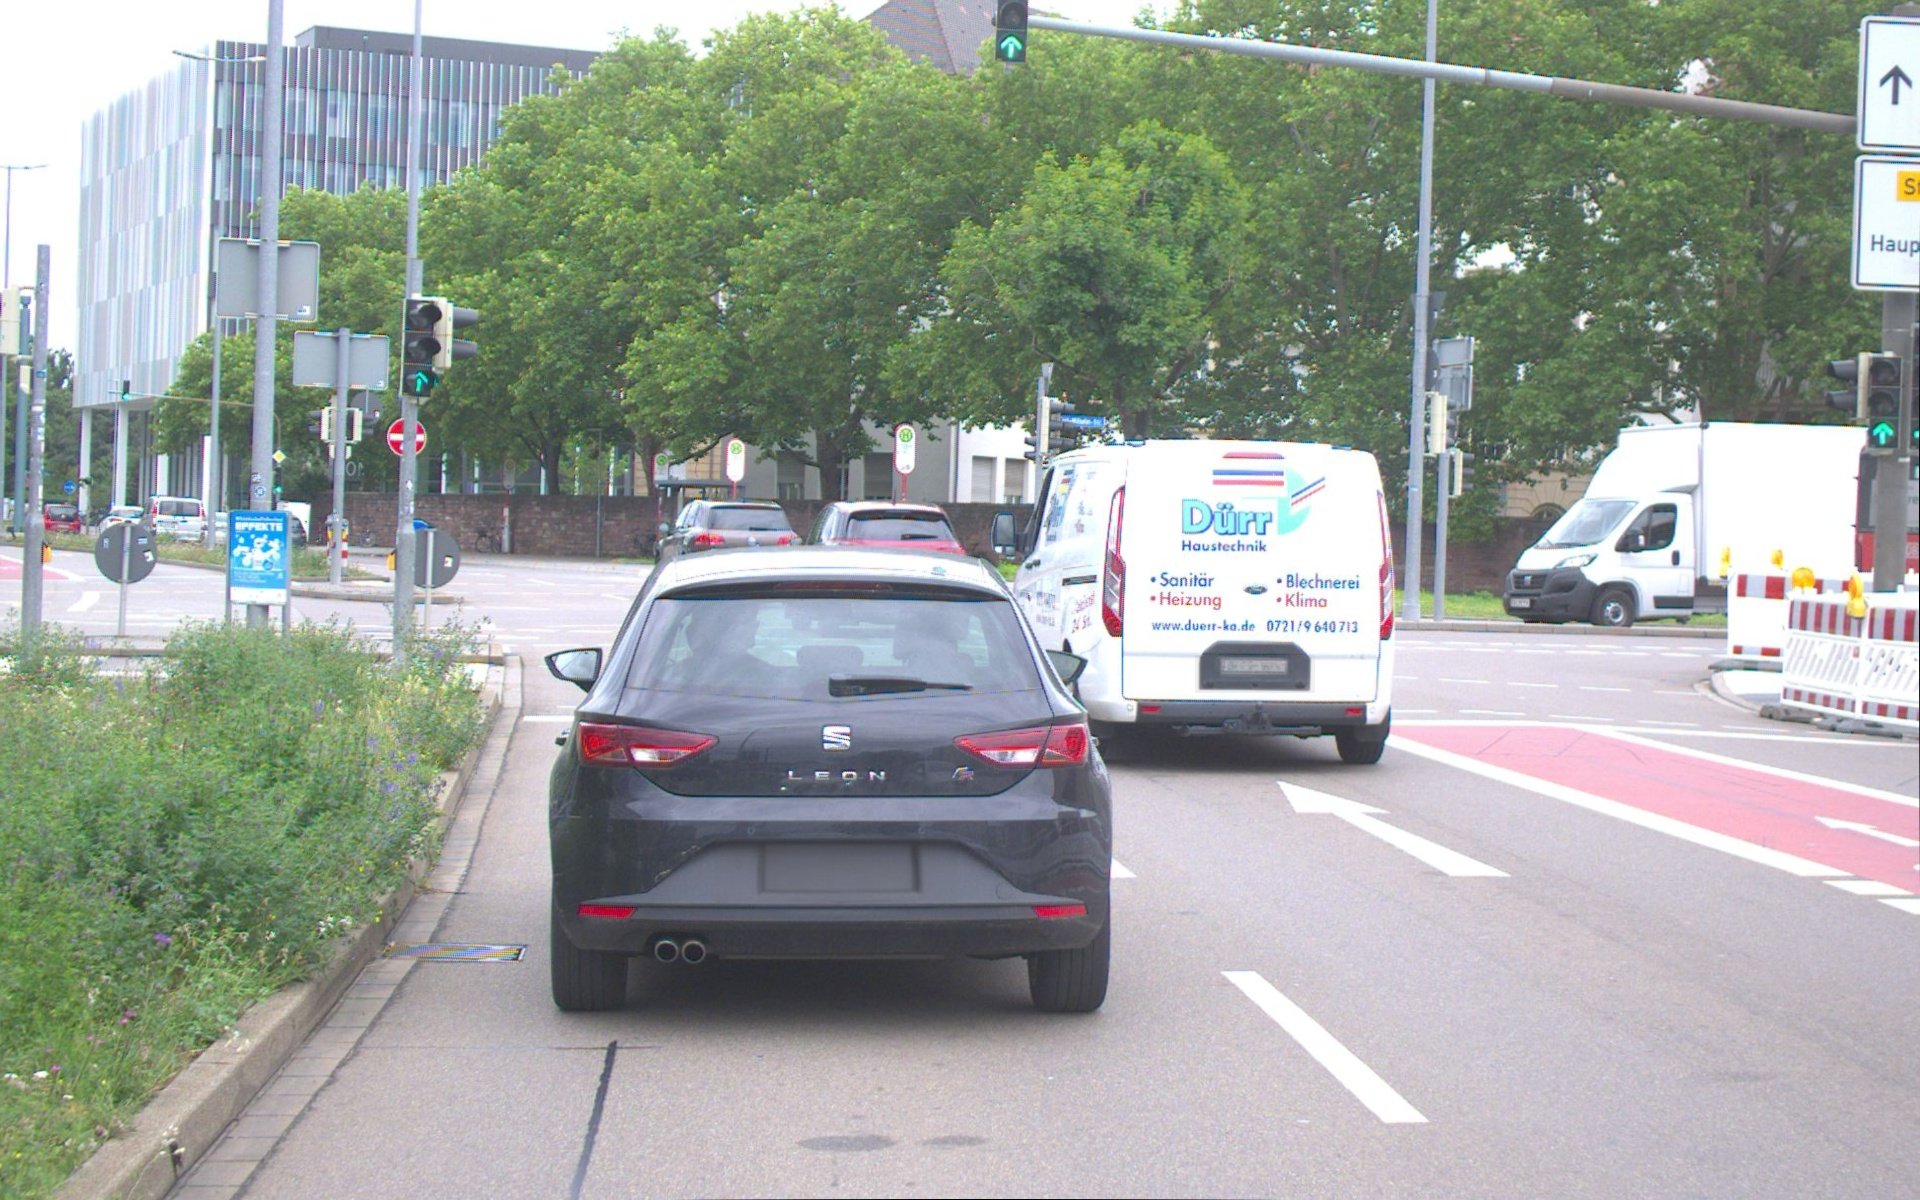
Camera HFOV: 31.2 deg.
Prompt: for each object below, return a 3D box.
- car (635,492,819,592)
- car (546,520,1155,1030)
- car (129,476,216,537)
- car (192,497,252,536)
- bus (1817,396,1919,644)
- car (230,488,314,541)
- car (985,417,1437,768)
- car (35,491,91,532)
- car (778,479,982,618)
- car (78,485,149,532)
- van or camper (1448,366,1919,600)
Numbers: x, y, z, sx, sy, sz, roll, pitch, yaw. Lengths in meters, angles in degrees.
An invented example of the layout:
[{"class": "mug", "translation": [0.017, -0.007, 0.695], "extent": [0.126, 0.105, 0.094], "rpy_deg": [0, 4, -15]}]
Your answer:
[{"class": "car", "translation": [-3.939, -0.993, 57.464], "extent": [1.993, 1.560, 4.206], "rpy_deg": [1, 2, -20]}, {"class": "car", "translation": [-0.490, 0.476, 11.906], "extent": [1.745, 1.459, 4.001], "rpy_deg": [0, 1, -5]}, {"class": "car", "translation": [-26.935, -3.216, 117.540], "extent": [1.993, 2.007, 4.001], "rpy_deg": [1, 1, -26]}, {"class": "car", "translation": [-27.303, -3.085, 127.092], "extent": [1.525, 1.360, 2.970], "rpy_deg": [1, 1, -25]}, {"class": "bus", "translation": [17.904, -0.992, 48.883], "extent": [12.337, 3.286, 3.069], "rpy_deg": [1, 1, -30]}, {"class": "car", "translation": [-23.083, -2.878, 115.257], "extent": [1.917, 1.678, 4.001], "rpy_deg": [1, 1, -24]}, {"class": "car", "translation": [1.493, -0.114, 22.623], "extent": [1.993, 2.012, 5.033], "rpy_deg": [1, 2, -7]}, {"class": "car", "translation": [-39.154, -3.870, 150.054], "extent": [1.993, 1.676, 4.012], "rpy_deg": [1, 1, -20]}, {"class": "car", "translation": [-1.041, -0.666, 42.226], "extent": [1.857, 1.594, 4.206], "rpy_deg": [1, 2, -10]}, {"class": "car", "translation": [-31.606, -3.422, 128.303], "extent": [1.993, 1.634, 4.001], "rpy_deg": [1, 1, -22]}, {"class": "van or camper", "translation": [11.298, -1.708, 52.458], "extent": [7.127, 3.320, 2.877], "rpy_deg": [1, 0, -23]}]
